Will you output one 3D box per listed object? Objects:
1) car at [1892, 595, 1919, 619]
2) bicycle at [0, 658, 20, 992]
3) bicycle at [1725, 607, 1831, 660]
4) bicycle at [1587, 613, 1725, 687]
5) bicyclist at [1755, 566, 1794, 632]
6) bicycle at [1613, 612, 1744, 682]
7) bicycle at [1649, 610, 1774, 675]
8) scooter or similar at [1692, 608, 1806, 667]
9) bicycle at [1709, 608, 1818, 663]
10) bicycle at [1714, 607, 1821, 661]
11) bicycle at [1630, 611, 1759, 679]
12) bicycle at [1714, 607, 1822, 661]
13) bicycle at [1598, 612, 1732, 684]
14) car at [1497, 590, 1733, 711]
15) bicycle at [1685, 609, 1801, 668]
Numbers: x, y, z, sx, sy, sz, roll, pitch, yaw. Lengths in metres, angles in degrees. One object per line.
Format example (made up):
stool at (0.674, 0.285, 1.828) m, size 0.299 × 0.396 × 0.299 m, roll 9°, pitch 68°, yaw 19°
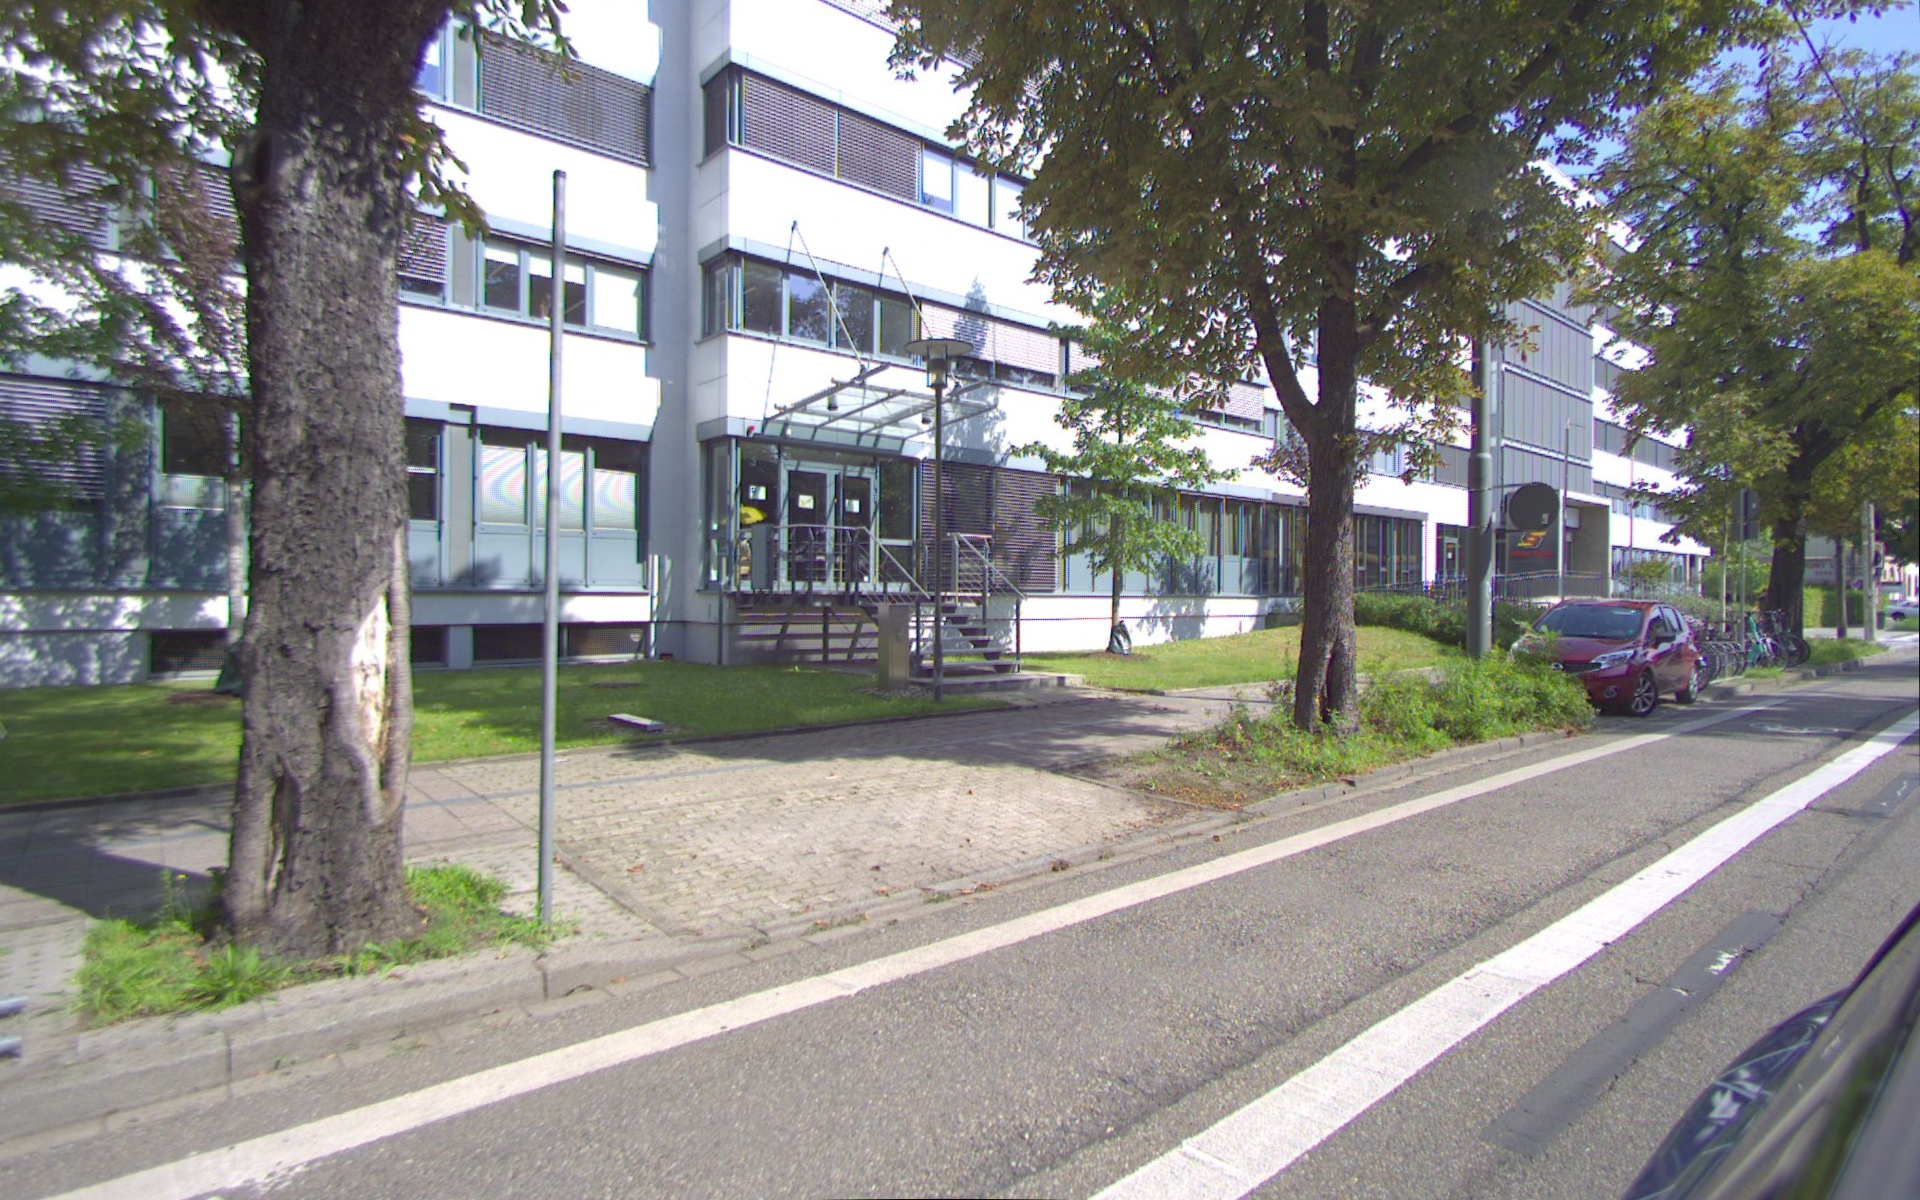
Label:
car at (64.495, 0.450, 66.640) m, size 1.930 × 1.534 × 4.541 m, roll 0°, pitch 0°, yaw -45°
bicycle at (-3.679, 0.805, 3.517) m, size 0.531 × 1.063 × 1.774 m, roll 0°, pitch 1°, yaw -41°
bicycle at (18.332, 0.728, 22.717) m, size 0.531 × 1.085 × 1.774 m, roll 0°, pitch 1°, yaw -41°
bicycle at (11.360, 0.788, 16.565) m, size 0.531 × 1.085 × 1.774 m, roll 0°, pitch 1°, yaw -41°
bicyclist at (25.661, -0.024, 31.892) m, size 1.253 × 2.039 × 0.781 m, roll 0°, pitch 0°, yaw -43°
bicycle at (12.412, 0.778, 17.525) m, size 0.531 × 1.085 × 1.774 m, roll 0°, pitch 1°, yaw -41°
bicycle at (13.864, 0.767, 18.719) m, size 0.531 × 1.085 × 1.774 m, roll 0°, pitch 1°, yaw -41°
scooter or similar at (16.187, 0.746, 20.796) m, size 0.531 × 1.085 × 1.774 m, roll 0°, pitch 1°, yaw -41°
bicycle at (17.361, 0.736, 21.893) m, size 0.531 × 1.085 × 1.774 m, roll 0°, pitch 1°, yaw -41°
bicycle at (17.762, 0.732, 22.299) m, size 0.531 × 1.085 × 1.774 m, roll 0°, pitch 1°, yaw -41°
bicycle at (13.047, 0.774, 18.009) m, size 0.531 × 1.085 × 1.774 m, roll 0°, pitch 1°, yaw -41°
bicycle at (17.785, 0.732, 22.305) m, size 0.531 × 1.085 × 1.774 m, roll 0°, pitch 1°, yaw -41°
bicycle at (11.895, 0.783, 17.112) m, size 0.531 × 1.085 × 1.774 m, roll 0°, pitch 1°, yaw -41°
car at (9.543, 0.617, 14.612) m, size 4.200 × 1.480 × 1.759 m, roll 0°, pitch 1°, yaw -41°
bicycle at (15.764, 0.750, 20.402) m, size 0.531 × 1.085 × 1.774 m, roll 0°, pitch 1°, yaw -41°
